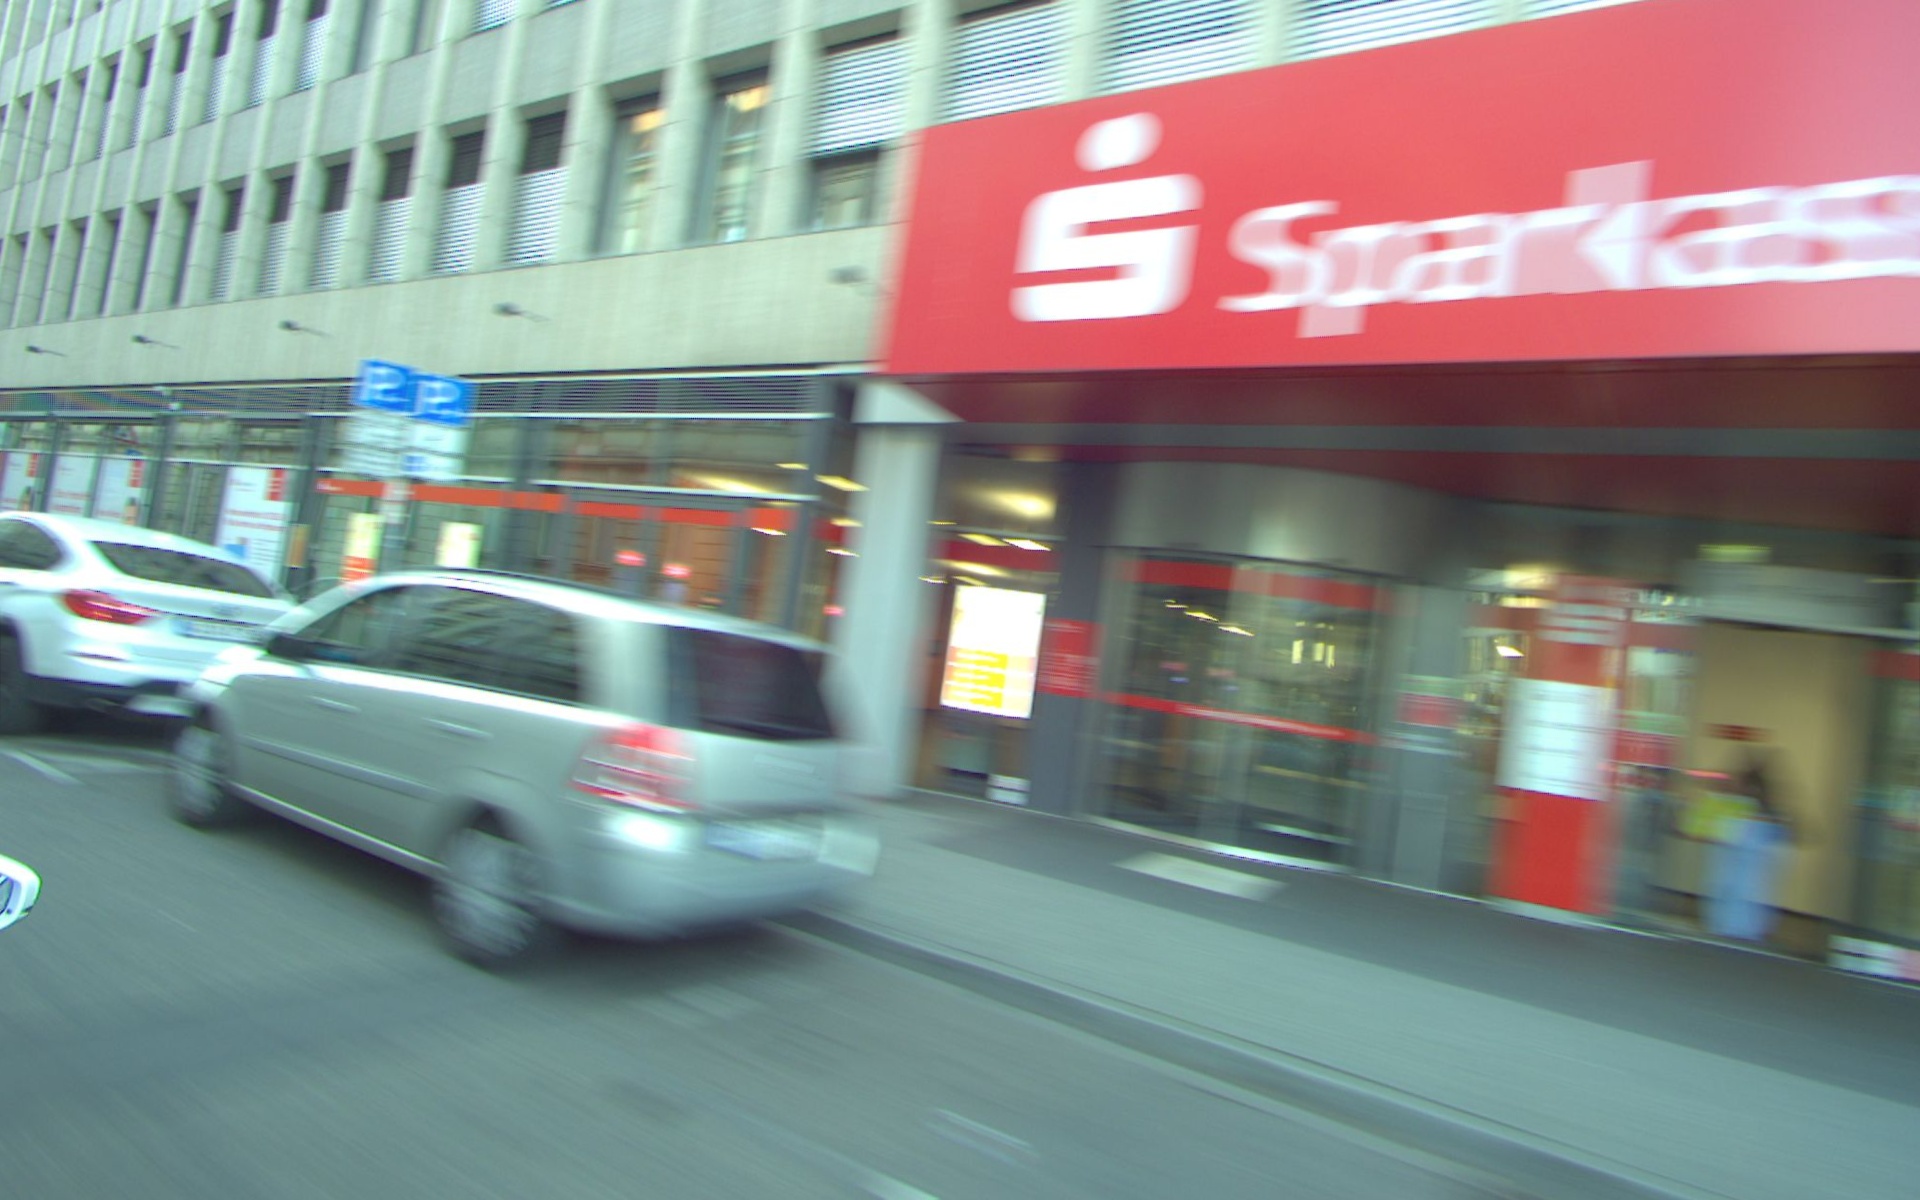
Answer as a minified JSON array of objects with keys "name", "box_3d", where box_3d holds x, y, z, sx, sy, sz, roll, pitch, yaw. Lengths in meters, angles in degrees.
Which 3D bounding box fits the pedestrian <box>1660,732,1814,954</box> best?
[{"name":"pedestrian","box_3d":[6.601,2.024,8.585,0.716,1.678,0.692,7,-4,20]}]

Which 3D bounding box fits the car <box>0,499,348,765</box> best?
[{"name":"car","box_3d":[-7.564,0.142,8.523,4.731,1.682,1.783,6,-5,29]}]

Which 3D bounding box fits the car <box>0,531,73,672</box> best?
[{"name":"car","box_3d":[-12.046,-0.205,11.517,3.806,1.462,1.662,6,-5,32]}]

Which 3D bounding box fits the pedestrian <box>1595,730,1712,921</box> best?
[{"name":"pedestrian","box_3d":[6.768,2.171,9.856,0.638,1.678,0.744,7,-4,22]}]

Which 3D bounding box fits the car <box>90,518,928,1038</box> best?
[{"name":"car","box_3d":[-2.680,0.673,5.577,4.636,1.614,1.746,7,-5,32]}]
